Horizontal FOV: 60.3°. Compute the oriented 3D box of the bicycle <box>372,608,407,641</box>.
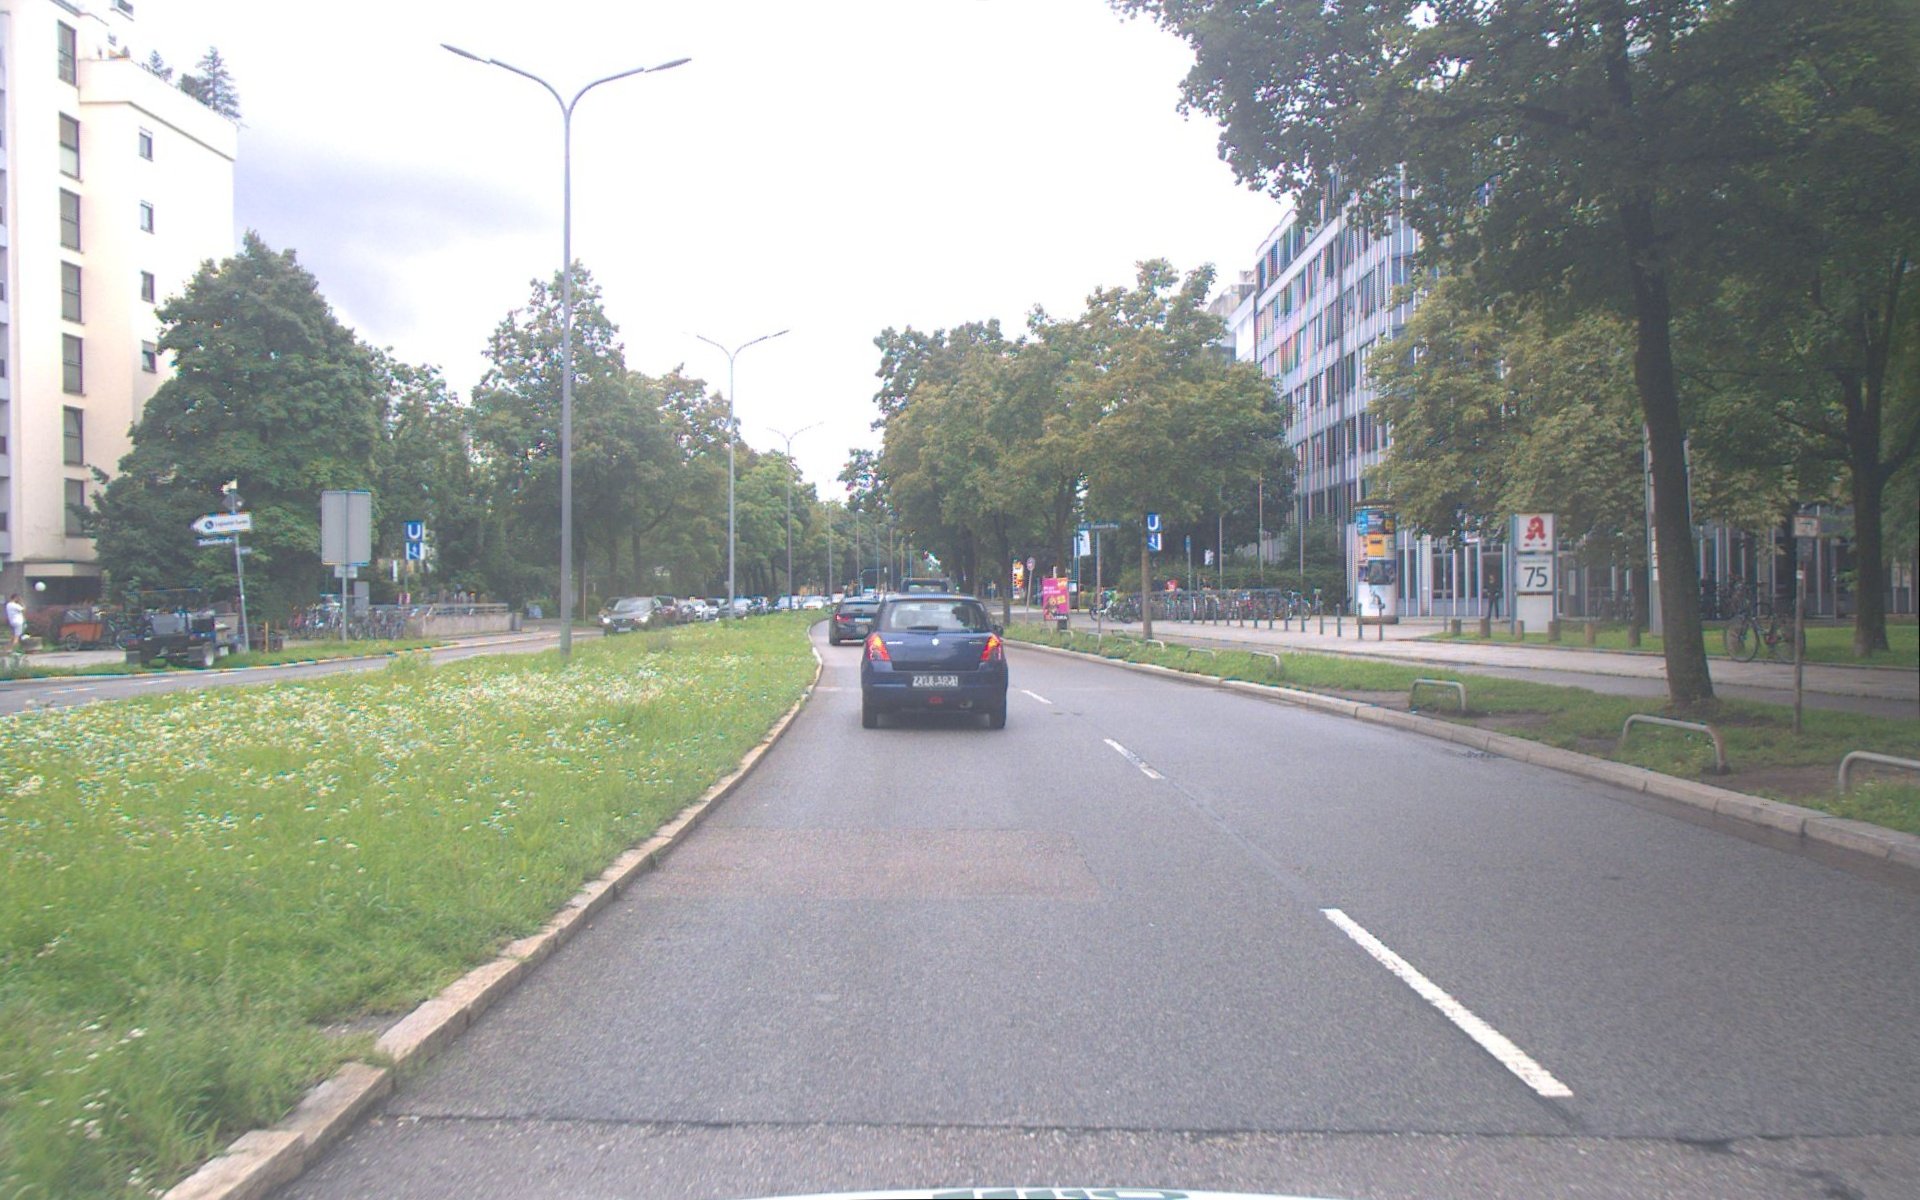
[{"bbox_3d":[-19.758,0.834,57.283,0.399,1.096,1.955,3,1,2],"label":"bicycle"}]

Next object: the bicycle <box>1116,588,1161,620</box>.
[{"bbox_3d":[7.006,0.142,64.868,0.570,1.118,2.018,-4,0,44],"label":"bicycle"}]

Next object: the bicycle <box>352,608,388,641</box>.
[{"bbox_3d":[-20.415,0.838,57.238,0.399,1.058,1.955,3,1,2],"label":"bicycle"}]

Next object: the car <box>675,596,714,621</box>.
[{"bbox_3d":[-17.012,0.547,106.172,1.703,1.556,4.476,1,0,1],"label":"car"}]

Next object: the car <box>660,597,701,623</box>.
[{"bbox_3d":[-17.094,0.580,101.296,1.703,1.508,4.334,1,0,1],"label":"car"}]

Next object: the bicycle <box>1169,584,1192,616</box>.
[{"bbox_3d":[8.537,0.003,64.073,0.478,1.210,1.953,-1,0,-3],"label":"bicycle"}]

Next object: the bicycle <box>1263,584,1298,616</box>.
[{"bbox_3d":[12.403,-0.003,63.997,0.566,1.210,2.136,-1,0,-10],"label":"bicycle"}]

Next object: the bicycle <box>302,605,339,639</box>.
[{"bbox_3d":[-22.098,0.757,57.154,0.399,1.123,1.955,3,1,2],"label":"bicycle"}]

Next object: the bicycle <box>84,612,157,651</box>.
[{"bbox_3d":[-25.382,0.947,50.007,1.907,1.122,0.560,-2,0,3],"label":"bicycle"}]

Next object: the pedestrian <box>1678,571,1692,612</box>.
[{"bbox_3d":[26.947,-0.320,61.479,0.342,1.517,0.344,-1,0,-34],"label":"pedestrian"}]

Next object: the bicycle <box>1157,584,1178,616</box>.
[{"bbox_3d":[8.029,-0.004,64.026,0.478,1.210,1.953,-1,0,-3],"label":"bicycle"}]

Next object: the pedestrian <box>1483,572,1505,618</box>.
[{"bbox_3d":[21.311,-0.195,66.017,0.672,1.803,0.770,-1,0,10],"label":"pedestrian"}]

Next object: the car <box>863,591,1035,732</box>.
[{"bbox_3d":[-0.199,0.659,19.721,1.858,1.525,3.658,0,0,-3],"label":"car"}]

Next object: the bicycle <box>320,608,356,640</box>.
[{"bbox_3d":[-21.530,0.818,57.278,0.399,1.048,1.955,3,1,2],"label":"bicycle"}]

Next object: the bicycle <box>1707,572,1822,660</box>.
[{"bbox_3d":[12.230,0.237,25.208,0.608,1.272,1.918,-1,0,-6],"label":"bicycle"}]

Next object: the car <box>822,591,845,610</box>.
[{"bbox_3d":[-11.830,0.051,155.154,1.730,1.653,4.376,-2,0,0],"label":"car"}]

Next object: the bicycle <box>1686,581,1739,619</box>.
[{"bbox_3d":[26.088,-0.002,57.386,0.542,1.282,2.170,-1,0,-10],"label":"bicycle"}]

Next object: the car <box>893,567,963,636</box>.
[{"bbox_3d":[-1.167,0.047,62.643,2.368,2.487,5.088,0,0,2],"label":"car"}]

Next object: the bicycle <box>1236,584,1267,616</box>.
[{"bbox_3d":[11.232,-0.004,63.719,0.437,1.210,2.136,-1,0,-10],"label":"bicycle"}]

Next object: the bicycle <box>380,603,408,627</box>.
[{"bbox_3d":[-26.694,0.694,78.005,0.566,1.118,2.032,-1,0,1],"label":"bicycle"}]

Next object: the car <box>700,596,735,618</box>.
[{"bbox_3d":[-17.017,0.455,116.159,1.701,1.473,4.822,2,0,0],"label":"car"}]

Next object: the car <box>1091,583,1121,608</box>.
[{"bbox_3d":[11.556,-0.357,131.327,1.805,1.850,4.470,-2,0,-2],"label":"car"}]

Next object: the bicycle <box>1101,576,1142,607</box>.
[{"bbox_3d":[6.801,-0.351,69.714,0.571,1.127,1.941,-1,4,45],"label":"bicycle"}]

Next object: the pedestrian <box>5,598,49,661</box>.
[{"bbox_3d":[-26.579,0.825,47.142,0.655,1.738,1.130,-1,0,-6],"label":"pedestrian"}]

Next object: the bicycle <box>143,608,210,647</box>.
[{"bbox_3d":[-25.128,0.882,53.043,1.907,1.122,0.489,3,0,3],"label":"bicycle"}]

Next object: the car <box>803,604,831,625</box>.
[{"bbox_3d":[-11.437,1.145,132.800,1.876,1.510,4.864,-2,0,-1],"label":"car"}]

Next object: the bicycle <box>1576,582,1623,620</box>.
[{"bbox_3d":[22.169,0.037,57.395,0.595,1.282,2.052,-1,0,-8],"label":"bicycle"}]

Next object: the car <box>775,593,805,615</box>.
[{"bbox_3d":[-11.718,0.270,114.051,1.657,1.426,3.967,-2,0,-1],"label":"car"}]

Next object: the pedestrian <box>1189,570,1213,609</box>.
[{"bbox_3d":[10.944,-0.468,75.180,0.743,1.744,0.774,-1,0,-40],"label":"pedestrian"}]

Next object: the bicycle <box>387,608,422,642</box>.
[{"bbox_3d":[-19.242,0.851,57.328,0.399,1.108,2.085,3,1,3],"label":"bicycle"}]

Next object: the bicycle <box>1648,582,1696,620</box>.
[{"bbox_3d":[24.763,0.035,57.573,0.499,1.282,2.017,-1,0,-10],"label":"bicycle"}]

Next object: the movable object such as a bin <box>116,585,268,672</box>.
[{"bbox_3d":[-18.906,0.655,40.910,2.150,1.987,3.995,-1,0,-6],"label":"movable object such as a bin"}]

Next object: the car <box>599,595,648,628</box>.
[{"bbox_3d":[-17.239,0.559,84.844,1.613,1.642,3.820,0,0,2],"label":"car"}]

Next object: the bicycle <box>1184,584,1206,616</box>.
[{"bbox_3d":[9.107,-0.004,64.098,0.478,1.210,1.953,-1,0,-3],"label":"bicycle"}]

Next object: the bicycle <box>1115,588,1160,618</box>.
[{"bbox_3d":[7.127,0.115,66.422,0.595,1.108,2.026,-5,-1,45],"label":"bicycle"}]

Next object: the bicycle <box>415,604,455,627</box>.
[{"bbox_3d":[-24.982,0.746,78.677,1.726,1.024,0.436,-1,0,0],"label":"bicycle"}]

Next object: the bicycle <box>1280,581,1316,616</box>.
[{"bbox_3d":[13.122,-0.065,64.264,0.499,1.317,2.472,-1,0,-10],"label":"bicycle"}]

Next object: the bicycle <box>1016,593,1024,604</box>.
[{"bbox_3d":[6.466,-0.161,177.293,0.733,1.203,2.246,-1,0,0],"label":"bicycle"}]

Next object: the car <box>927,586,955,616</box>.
[{"bbox_3d":[-1.413,0.062,123.573,1.946,2.195,5.556,-1,0,1],"label":"car"}]

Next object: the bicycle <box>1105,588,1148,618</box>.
[{"bbox_3d":[6.760,0.124,67.129,0.571,1.084,1.941,-3,1,45],"label":"bicycle"}]

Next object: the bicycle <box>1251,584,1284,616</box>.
[{"bbox_3d":[11.792,0.003,63.560,0.502,1.210,2.136,-1,0,-10],"label":"bicycle"}]

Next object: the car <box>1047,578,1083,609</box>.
[{"bbox_3d":[8.249,-0.532,130.744,2.219,2.347,6.266,-2,0,-2],"label":"car"}]

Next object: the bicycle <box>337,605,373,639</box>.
[{"bbox_3d":[-20.953,0.757,57.290,0.399,1.091,1.955,3,1,2],"label":"bicycle"}]

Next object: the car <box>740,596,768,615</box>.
[{"bbox_3d":[-16.777,0.427,134.920,1.592,1.448,4.192,2,0,1],"label":"car"}]

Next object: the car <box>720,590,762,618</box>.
[{"bbox_3d":[-11.639,0.199,88.097,1.746,1.430,4.100,-2,0,-2],"label":"car"}]

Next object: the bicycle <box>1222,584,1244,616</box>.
[{"bbox_3d":[10.547,-0.018,63.945,0.436,1.210,1.953,-1,0,-3],"label":"bicycle"}]

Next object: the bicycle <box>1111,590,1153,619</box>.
[{"bbox_3d":[7.155,0.179,68.715,0.587,1.102,1.941,-1,3,45],"label":"bicycle"}]

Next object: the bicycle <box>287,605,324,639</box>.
[{"bbox_3d":[-22.605,0.741,57.148,0.399,1.116,1.955,3,1,2],"label":"bicycle"}]

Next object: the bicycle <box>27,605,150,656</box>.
[{"bbox_3d":[-25.964,0.905,49.297,3.257,1.305,0.788,3,0,3],"label":"bicycle"}]

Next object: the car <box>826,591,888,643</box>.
[{"bbox_3d":[-3.224,0.505,51.388,1.764,1.525,3.656,-2,0,-6],"label":"car"}]

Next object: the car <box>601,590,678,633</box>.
[{"bbox_3d":[-11.800,0.391,61.092,1.917,1.506,4.259,-1,0,1],"label":"car"}]

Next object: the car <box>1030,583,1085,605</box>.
[{"bbox_3d":[9.799,-0.601,166.929,5.358,2.120,2.147,-1,0,-1],"label":"car"}]

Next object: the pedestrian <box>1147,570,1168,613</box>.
[{"bbox_3d":[9.037,-0.385,75.629,0.642,1.932,0.744,-1,0,-23],"label":"pedestrian"}]

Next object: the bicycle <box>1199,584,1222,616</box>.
[{"bbox_3d":[9.698,-0.010,64.186,0.478,1.210,1.953,-1,0,-3],"label":"bicycle"}]

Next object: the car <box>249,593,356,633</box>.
[{"bbox_3d":[-28.553,0.564,71.921,3.904,1.616,1.749,-1,0,1],"label":"car"}]

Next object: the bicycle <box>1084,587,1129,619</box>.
[{"bbox_3d":[6.250,0.131,70.628,1.932,1.209,0.590,-5,2,-35],"label":"bicycle"}]
